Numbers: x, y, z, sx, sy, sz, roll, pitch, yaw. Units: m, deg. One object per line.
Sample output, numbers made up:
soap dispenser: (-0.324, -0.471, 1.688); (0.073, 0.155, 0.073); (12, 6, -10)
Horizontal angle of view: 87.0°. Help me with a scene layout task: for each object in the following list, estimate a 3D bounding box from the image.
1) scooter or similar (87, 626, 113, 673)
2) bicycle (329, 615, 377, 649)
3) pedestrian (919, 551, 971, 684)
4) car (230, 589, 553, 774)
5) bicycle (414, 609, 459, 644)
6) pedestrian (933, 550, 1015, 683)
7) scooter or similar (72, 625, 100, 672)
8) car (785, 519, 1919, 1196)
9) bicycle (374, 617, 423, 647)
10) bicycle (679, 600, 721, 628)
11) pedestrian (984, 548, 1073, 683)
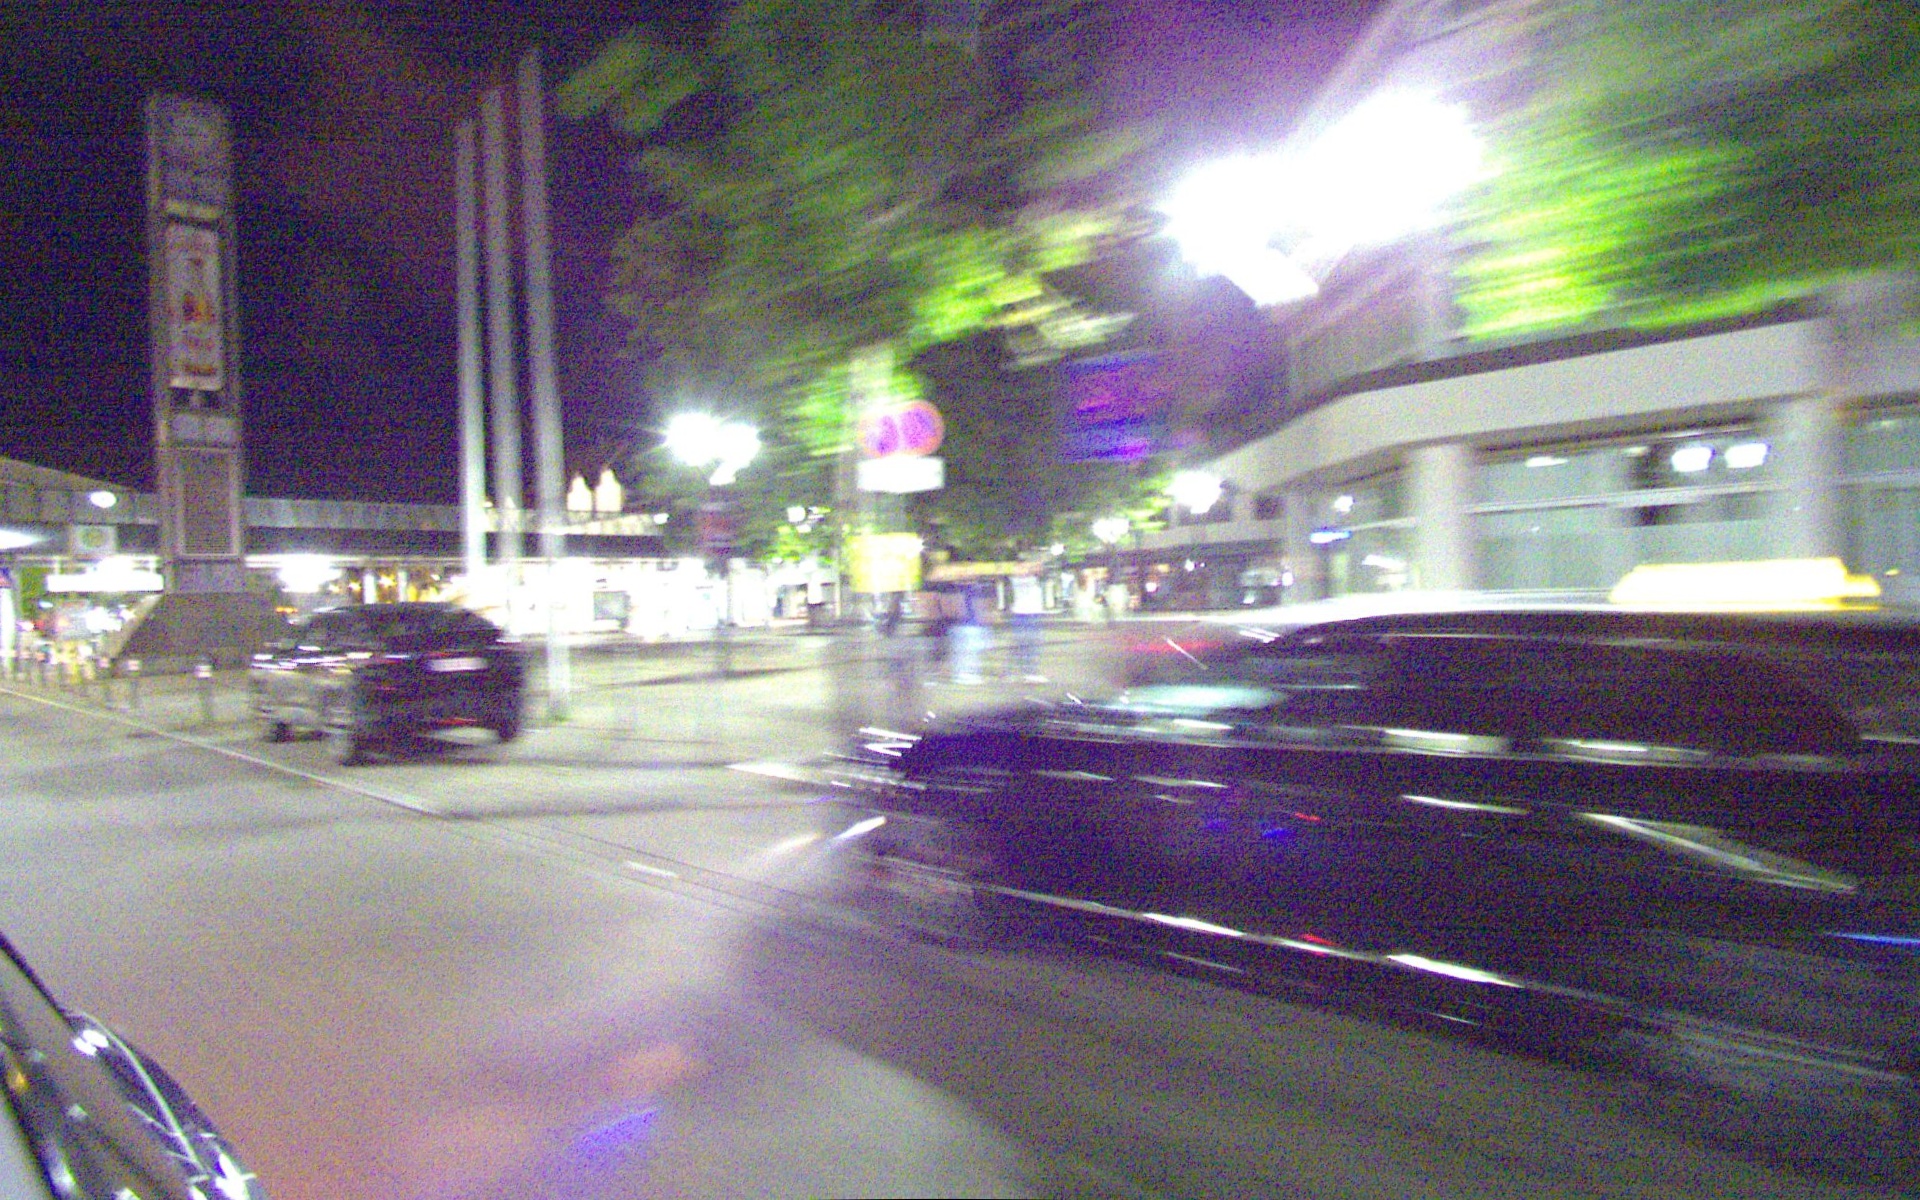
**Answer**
scooter or similar: (-24.187, 1.390, 28.460); (1.448, 1.298, 0.314); (-3, 0, 42)
bicycle: (-23.670, 1.218, 39.457); (2.464, 1.264, 0.850); (0, 1, 40)
pedestrian: (-0.218, 0.237, 14.306); (0.494, 1.835, 0.505); (-3, 1, -24)
car: (-6.384, 0.744, 11.125); (4.482, 1.585, 1.752); (-1, 1, 43)
bicycle: (-21.493, 1.077, 41.524); (2.411, 1.374, 0.755); (0, 0, 40)
pedestrian: (0.196, 0.226, 14.752); (0.866, 1.845, 0.793); (-3, 1, -23)
scooter or similar: (-24.381, 1.348, 28.230); (1.448, 1.273, 0.365); (-3, 0, 42)
car: (1.646, 0.592, 3.964); (4.776, 1.553, 1.887); (-2, 1, 39)
bicycle: (-22.421, 1.262, 40.392); (2.481, 1.095, 0.850); (0, 1, 40)
bicycle: (-13.216, 0.717, 51.359); (2.509, 1.374, 0.765); (0, 0, 40)
pedestrian: (0.974, 0.205, 14.541); (0.781, 1.831, 1.027); (-3, 1, -29)
